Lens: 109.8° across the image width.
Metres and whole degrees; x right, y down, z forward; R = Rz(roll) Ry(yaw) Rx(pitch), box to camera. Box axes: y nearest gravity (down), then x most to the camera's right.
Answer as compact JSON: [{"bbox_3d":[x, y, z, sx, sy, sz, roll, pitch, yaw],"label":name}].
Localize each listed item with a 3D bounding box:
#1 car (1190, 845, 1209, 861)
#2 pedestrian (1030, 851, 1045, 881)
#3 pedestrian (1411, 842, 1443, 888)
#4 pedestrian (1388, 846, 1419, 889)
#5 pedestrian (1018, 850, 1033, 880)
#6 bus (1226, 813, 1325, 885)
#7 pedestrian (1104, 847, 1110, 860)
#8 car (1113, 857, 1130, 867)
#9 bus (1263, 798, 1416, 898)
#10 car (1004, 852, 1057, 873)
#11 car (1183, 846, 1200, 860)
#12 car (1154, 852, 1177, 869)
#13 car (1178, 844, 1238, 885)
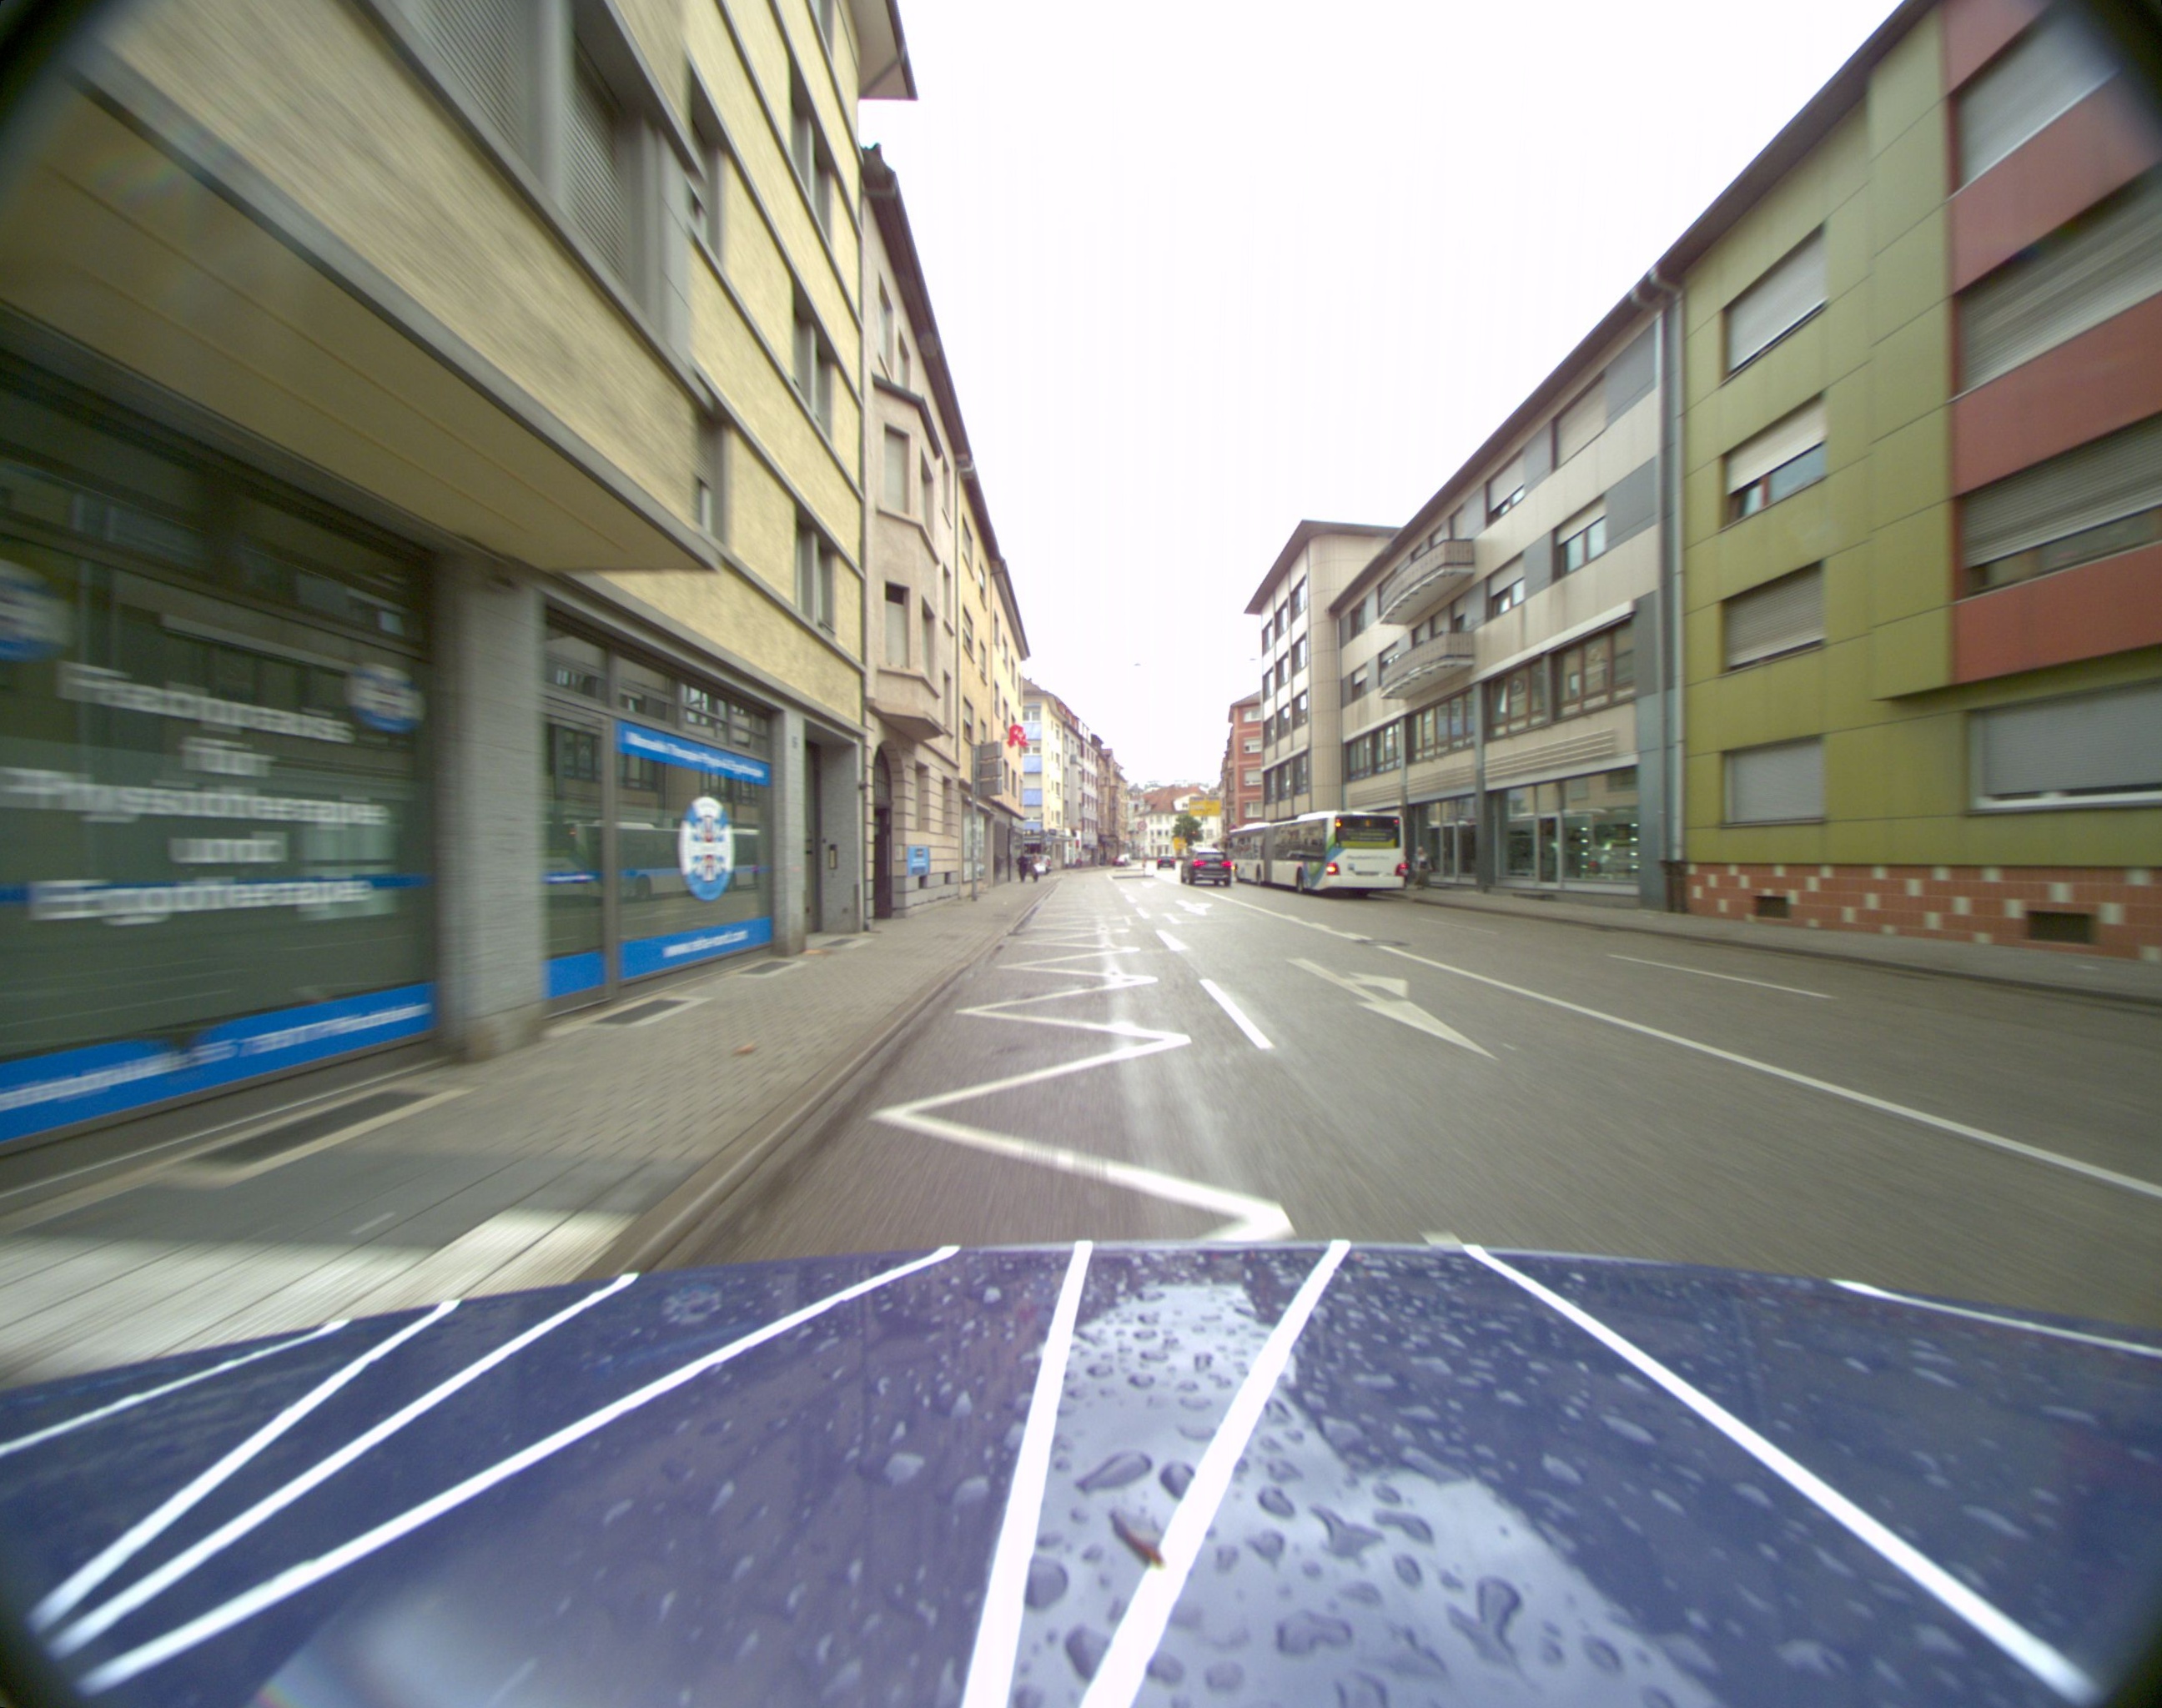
[{"bbox_3d":[17.893,-0.200,114.912,2.091,2.421,6.352,0,1,2],"label":"car"},{"bbox_3d":[-2.301,0.612,40.326,0.780,1.551,0.782,0,1,-1],"label":"pedestrian"},{"bbox_3d":[12.449,0.389,27.332,0.839,1.605,0.711,0,1,0],"label":"pedestrian"},{"bbox_3d":[11.680,0.480,27.522,0.801,1.526,0.711,0,1,0],"label":"pedestrian"},{"bbox_3d":[-2.928,0.590,40.196,0.770,1.551,0.876,0,1,-1],"label":"pedestrian"},{"bbox_3d":[9.409,-0.289,37.911,2.765,3.170,8.910,0,1,1],"label":"bus"},{"bbox_3d":[3.473,-0.064,102.718,0.745,1.769,0.796,0,1,7],"label":"pedestrian"},{"bbox_3d":[5.463,1.057,102.128,1.747,1.361,4.318,0,0,9],"label":"car"},{"bbox_3d":[9.325,-0.245,28.789,2.732,3.170,9.291,0,1,1],"label":"bus"},{"bbox_3d":[-3.864,0.673,58.855,3.833,1.565,1.937,0,1,6],"label":"car"},{"bbox_3d":[13.546,-0.129,92.743,1.746,1.652,4.422,0,0,12],"label":"car"},{"bbox_3d":[8.040,0.595,72.623,1.713,1.443,4.085,0,1,0],"label":"car"},{"bbox_3d":[5.836,0.433,35.393,1.936,1.747,4.571,0,1,-1],"label":"car"}]
